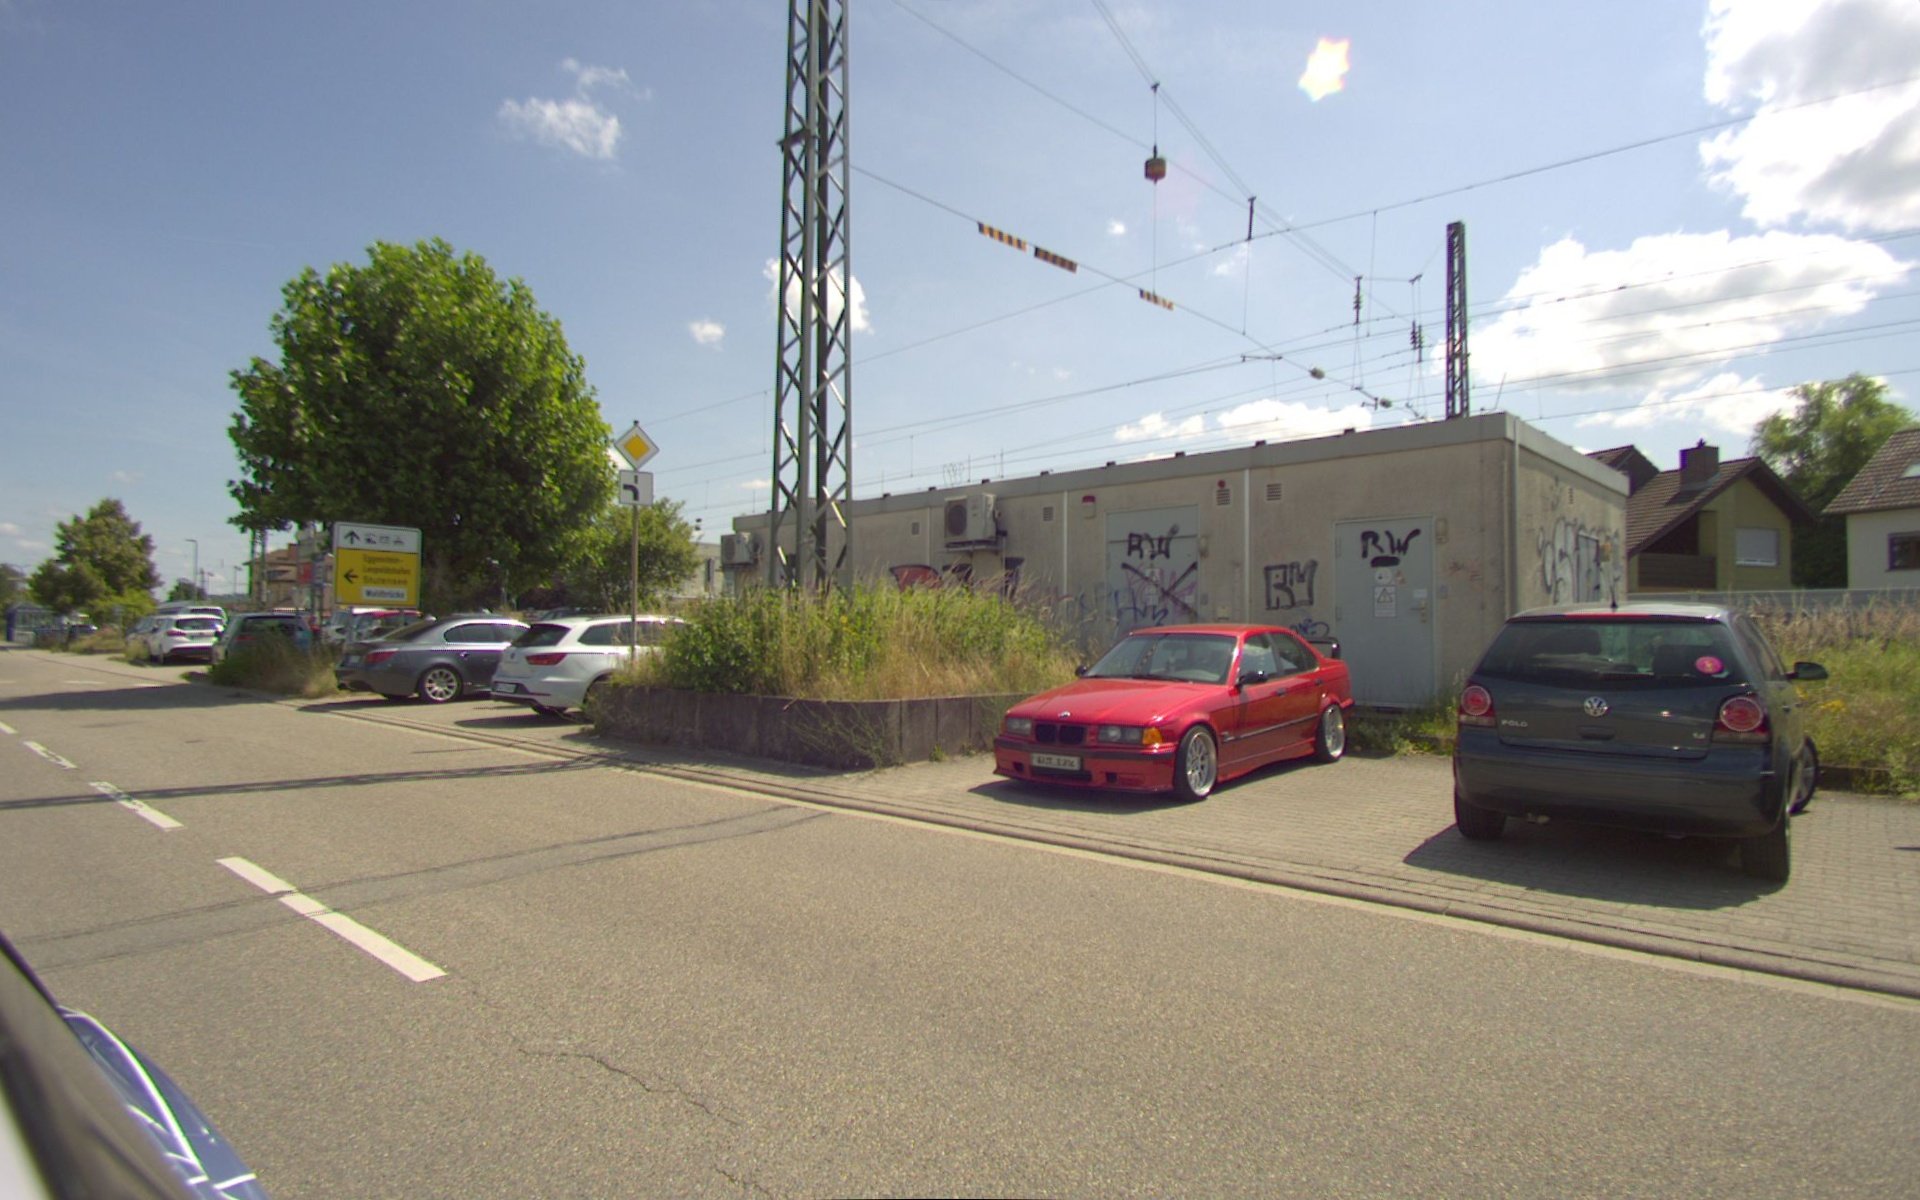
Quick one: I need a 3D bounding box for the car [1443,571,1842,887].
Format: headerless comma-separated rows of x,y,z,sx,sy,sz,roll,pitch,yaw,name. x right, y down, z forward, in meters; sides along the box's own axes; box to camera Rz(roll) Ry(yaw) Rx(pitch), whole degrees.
4.561,0.605,6.616,1.682,1.459,3.629,-2,-1,40,car

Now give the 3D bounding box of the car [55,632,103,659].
-47.683,2.435,54.758,4.000,1.360,1.586,-1,-3,44,car

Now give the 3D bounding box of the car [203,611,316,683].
-16.575,1.080,23.870,1.664,1.542,4.067,2,-3,-42,car

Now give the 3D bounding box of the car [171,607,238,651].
-33.102,1.289,44.303,1.925,1.847,3.839,2,-3,-43,car

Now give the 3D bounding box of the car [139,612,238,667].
-23.670,1.196,31.007,4.264,1.576,1.783,-2,-3,44,car

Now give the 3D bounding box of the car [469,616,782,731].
-4.729,0.956,14.759,1.785,1.412,4.032,-1,-1,39,car

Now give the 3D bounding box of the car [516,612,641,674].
-11.085,1.217,29.241,1.969,1.650,4.091,2,-3,-43,car

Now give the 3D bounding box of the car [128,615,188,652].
-39.132,1.637,49.340,4.000,1.698,1.709,-1,-3,43,car

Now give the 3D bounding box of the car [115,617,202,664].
-27.938,1.386,35.240,3.960,1.556,1.770,-1,-3,43,car

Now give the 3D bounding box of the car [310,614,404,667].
-20.612,1.315,34.525,1.969,1.670,4.268,0,-1,-42,car

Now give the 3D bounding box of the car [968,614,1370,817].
2.037,0.841,8.971,1.673,1.379,4.029,-3,-3,42,car

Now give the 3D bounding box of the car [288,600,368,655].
-24.711,1.090,39.511,1.824,2.029,4.003,3,-3,-44,car

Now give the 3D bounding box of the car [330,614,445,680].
-14.427,1.156,25.417,1.769,1.548,3.583,2,-3,-42,car

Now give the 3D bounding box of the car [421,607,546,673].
-12.986,1.064,27.488,1.969,1.650,4.091,2,-3,-42,car

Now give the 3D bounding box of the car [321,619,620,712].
-8.399,1.091,17.723,1.786,1.421,4.382,-1,-3,39,car

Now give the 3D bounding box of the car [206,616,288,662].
-26.314,1.420,37.297,1.779,1.576,4.265,3,-3,-44,car

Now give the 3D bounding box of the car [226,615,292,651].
-32.907,1.550,47.448,1.925,1.621,4.276,2,-3,-43,car
